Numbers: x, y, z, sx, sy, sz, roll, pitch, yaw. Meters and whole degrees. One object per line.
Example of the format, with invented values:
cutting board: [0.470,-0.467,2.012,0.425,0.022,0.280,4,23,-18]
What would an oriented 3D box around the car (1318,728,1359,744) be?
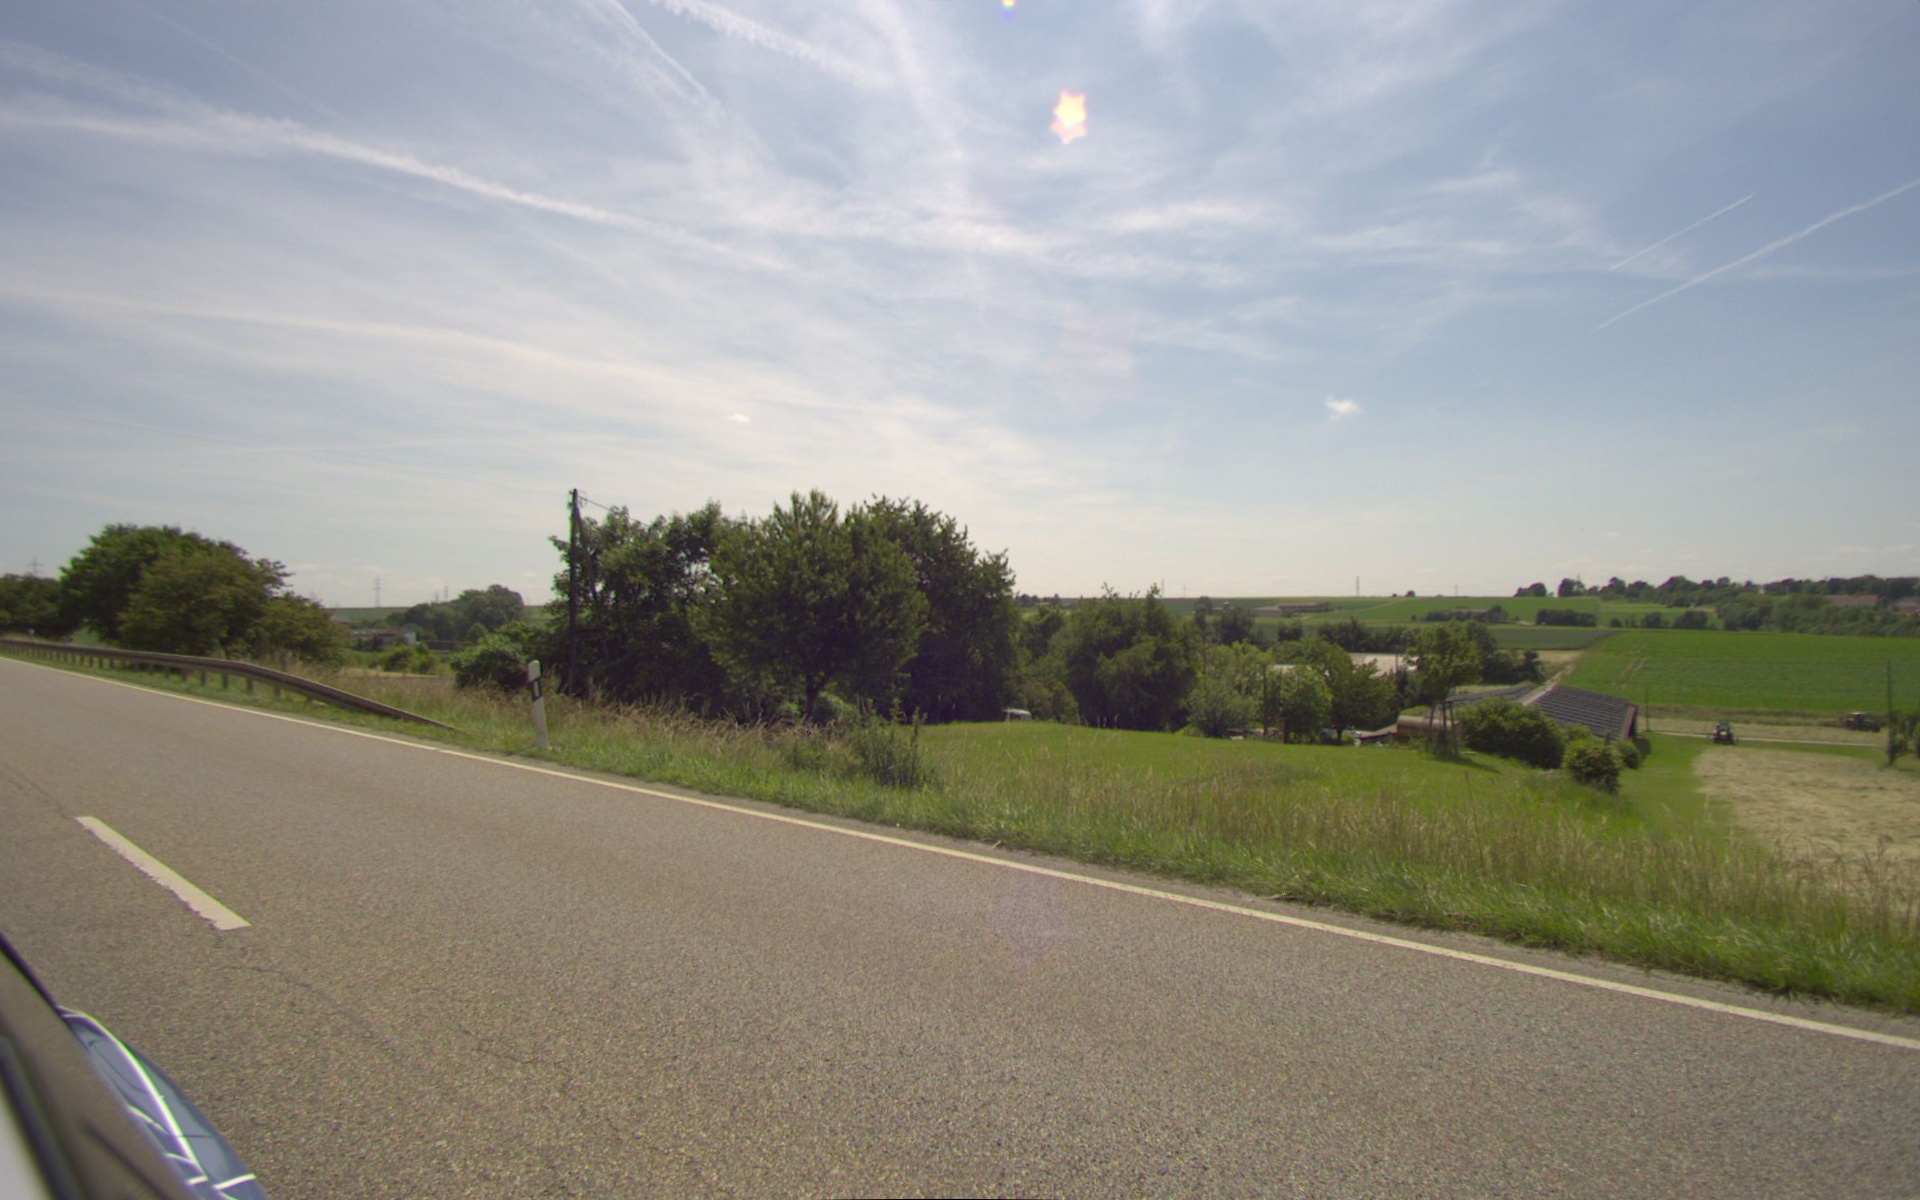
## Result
car: [48.258,17.373,129.036,4.496,1.697,1.973,-1,-7,41]
